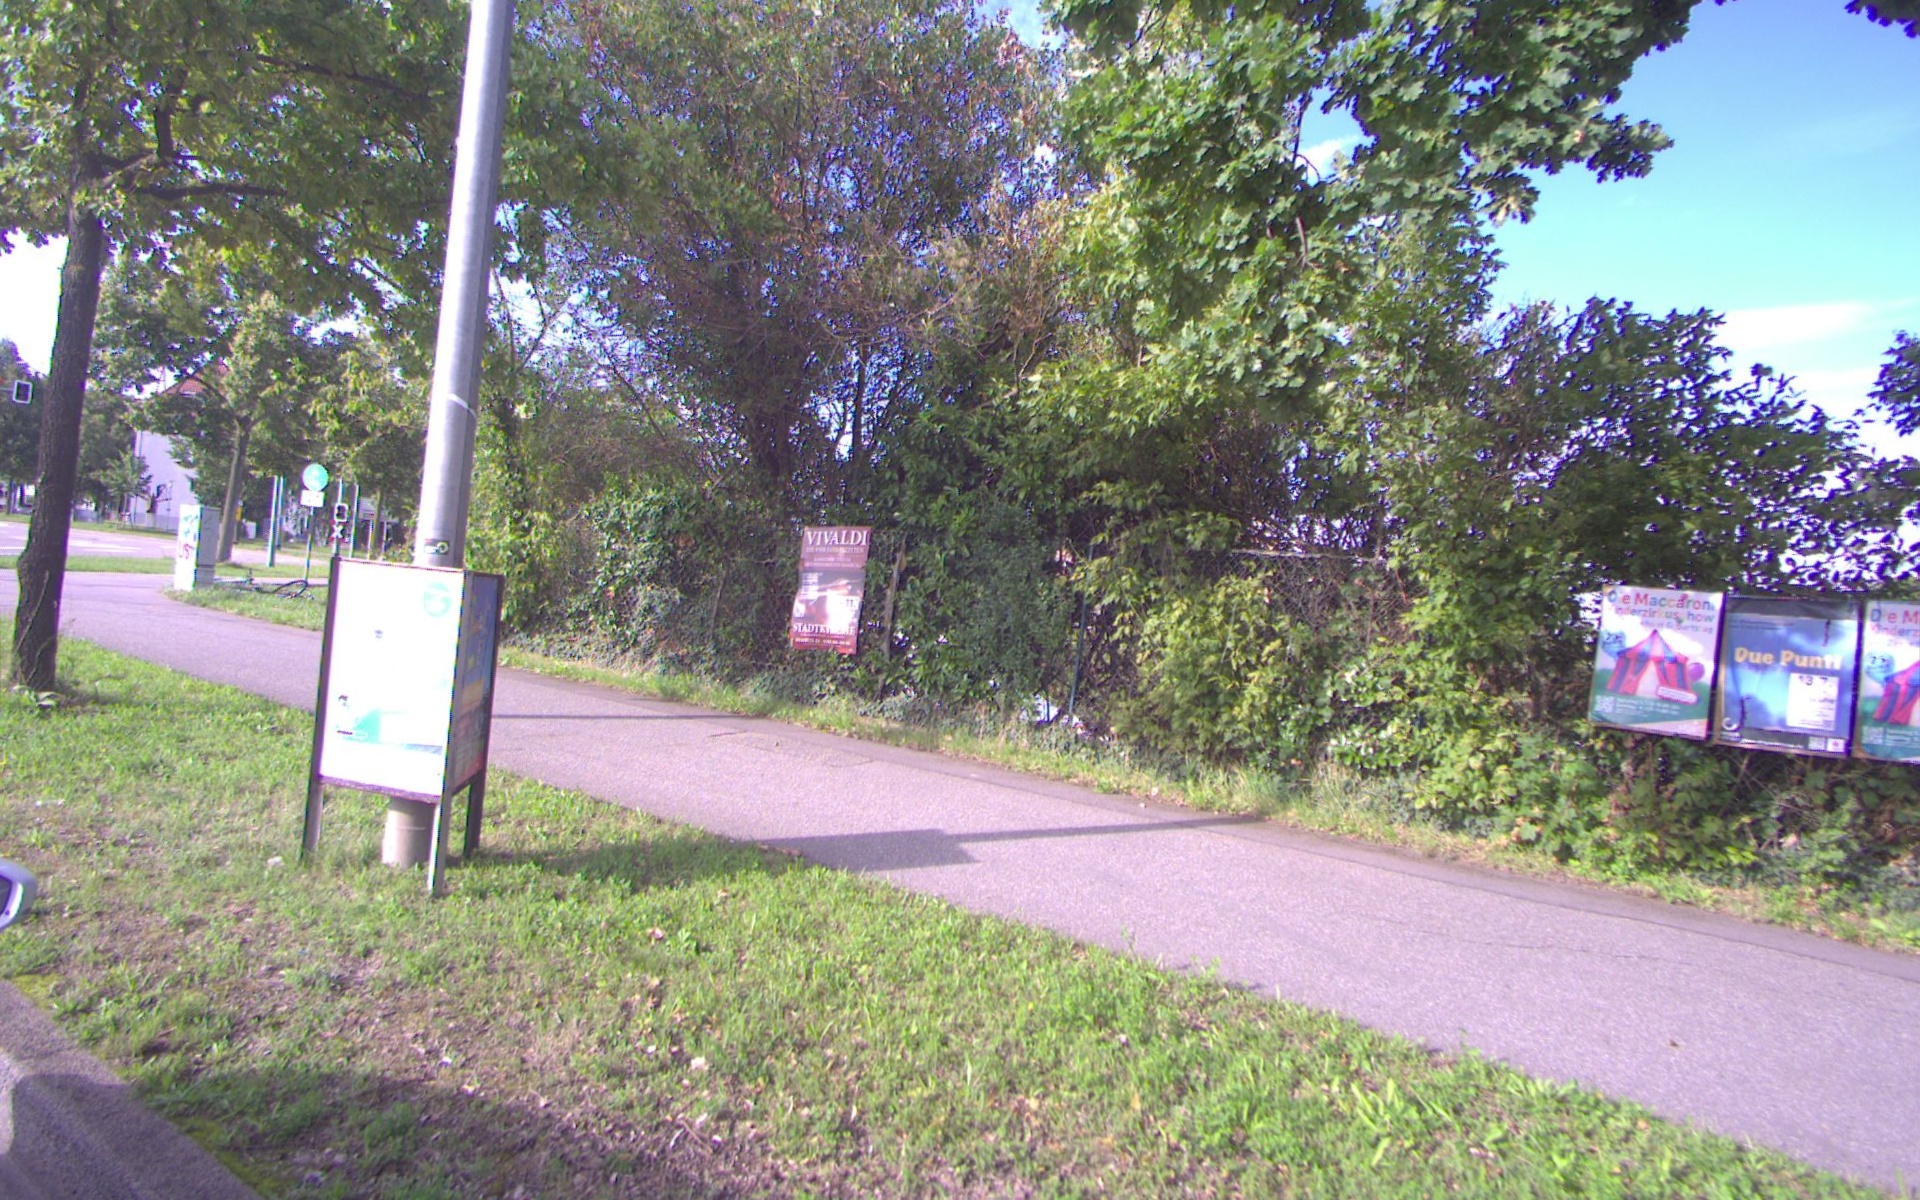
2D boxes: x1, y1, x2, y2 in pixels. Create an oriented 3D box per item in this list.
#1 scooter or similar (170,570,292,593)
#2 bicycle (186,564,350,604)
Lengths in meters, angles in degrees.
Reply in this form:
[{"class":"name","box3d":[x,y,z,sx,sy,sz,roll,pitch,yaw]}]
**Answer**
[{"class":"scooter or similar","box3d":[-14.720,-0.369,20.377,1.268,0.284,1.554,6,0,7]},{"class":"bicycle","box3d":[-12.591,-0.285,18.372,2.210,0.350,1.090,9,-1,-2]}]
